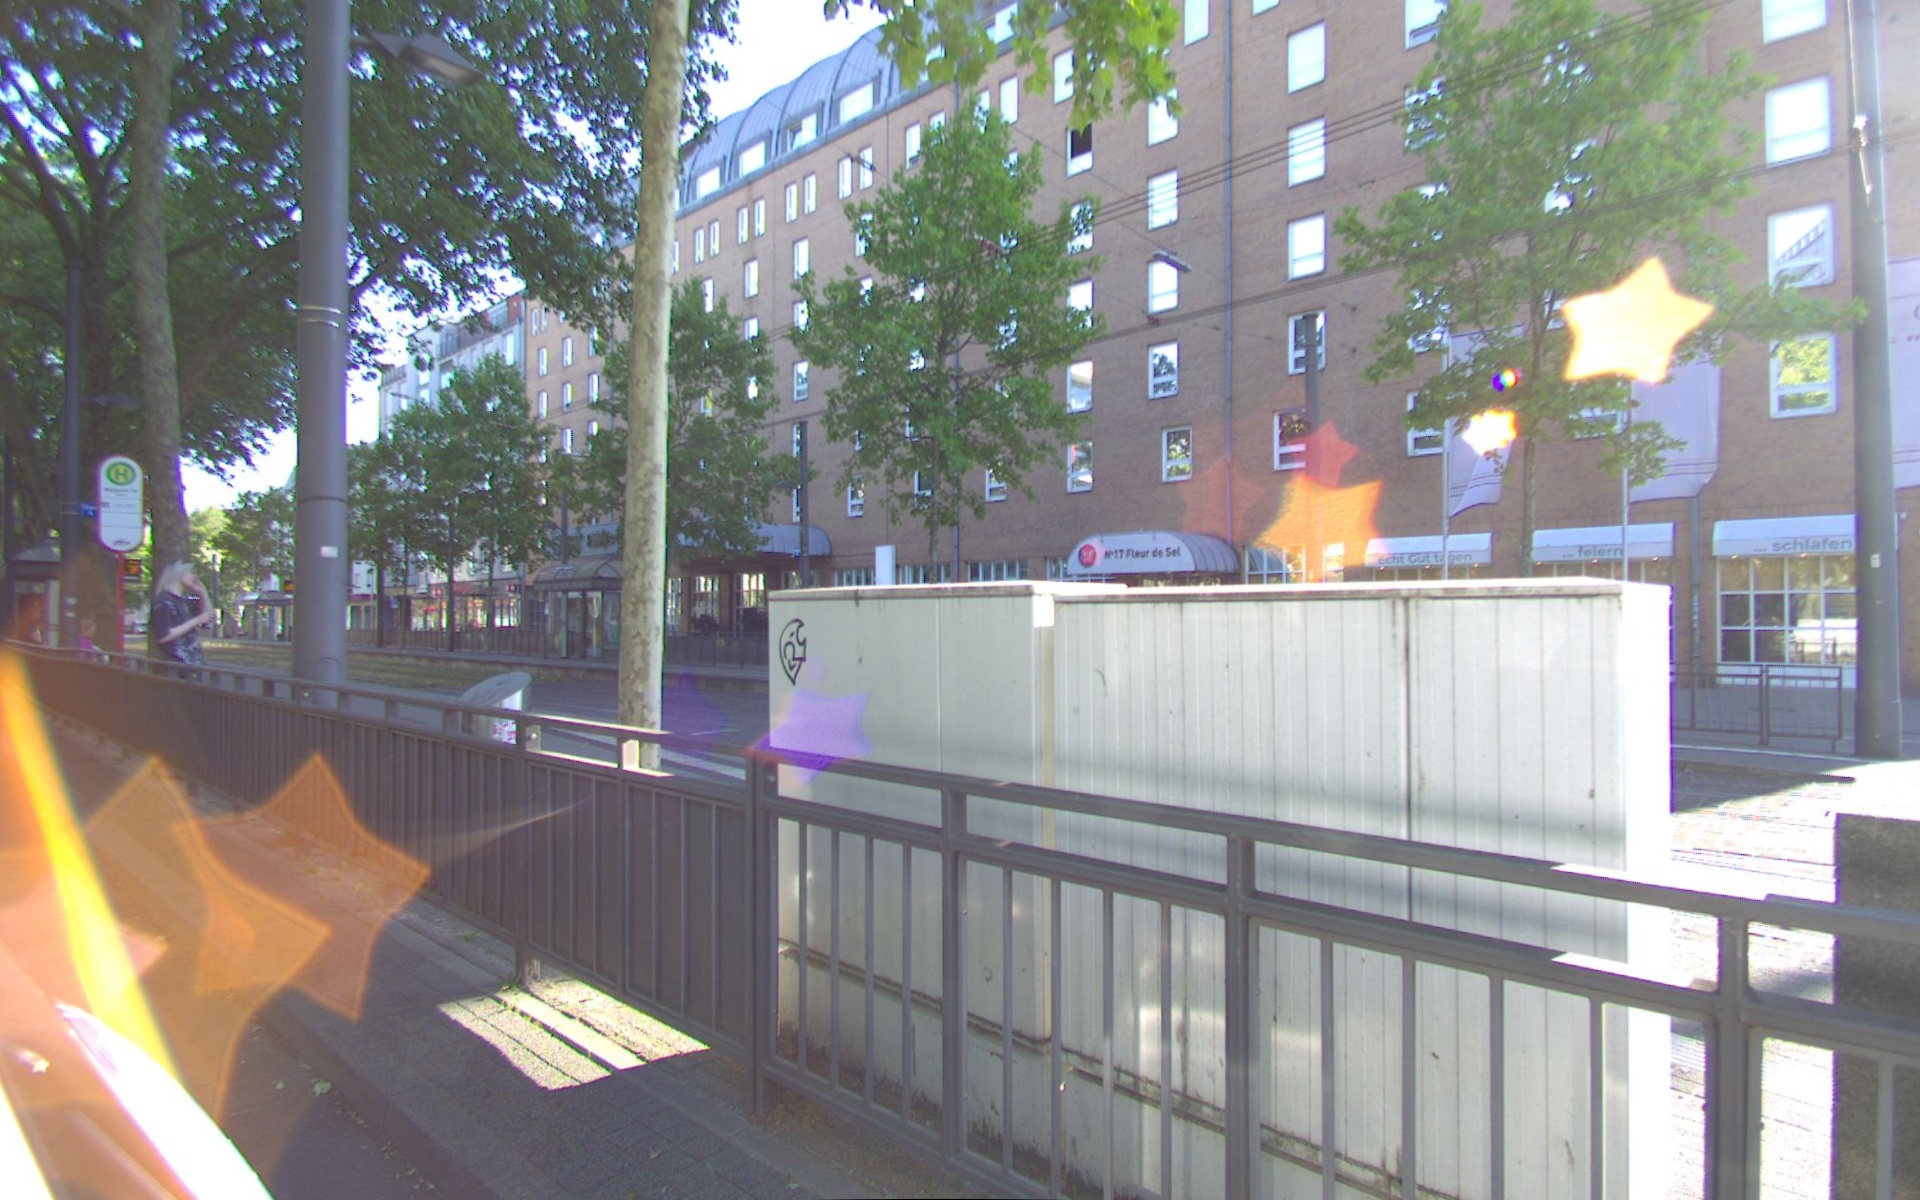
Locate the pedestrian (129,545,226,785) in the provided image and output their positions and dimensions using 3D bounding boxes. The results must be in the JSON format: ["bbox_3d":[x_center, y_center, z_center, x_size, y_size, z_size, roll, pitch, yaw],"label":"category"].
[{"bbox_3d":[-6.566,0.516,8.490,0.760,1.914,0.504,-1,0,42],"label":"pedestrian"}]

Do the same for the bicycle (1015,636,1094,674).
[{"bbox_3d":[2.520,1.457,27.123,2.185,0.940,0.658,-2,-2,44],"label":"bicycle"}]

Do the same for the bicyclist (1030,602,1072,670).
[{"bbox_3d":[2.447,0.957,27.215,0.852,1.799,0.742,-2,-3,44],"label":"bicyclist"}]

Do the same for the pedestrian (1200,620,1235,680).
[{"bbox_3d":[7.156,1.382,28.128,0.725,1.596,0.583,-3,0,40],"label":"pedestrian"}]

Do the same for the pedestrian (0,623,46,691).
[{"bbox_3d":[-20.137,1.206,21.744,0.725,1.398,0.641,-1,0,-44],"label":"pedestrian"}]

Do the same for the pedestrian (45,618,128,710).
[{"bbox_3d":[-14.059,1.001,16.290,0.965,1.410,0.665,-1,0,-44],"label":"pedestrian"}]
